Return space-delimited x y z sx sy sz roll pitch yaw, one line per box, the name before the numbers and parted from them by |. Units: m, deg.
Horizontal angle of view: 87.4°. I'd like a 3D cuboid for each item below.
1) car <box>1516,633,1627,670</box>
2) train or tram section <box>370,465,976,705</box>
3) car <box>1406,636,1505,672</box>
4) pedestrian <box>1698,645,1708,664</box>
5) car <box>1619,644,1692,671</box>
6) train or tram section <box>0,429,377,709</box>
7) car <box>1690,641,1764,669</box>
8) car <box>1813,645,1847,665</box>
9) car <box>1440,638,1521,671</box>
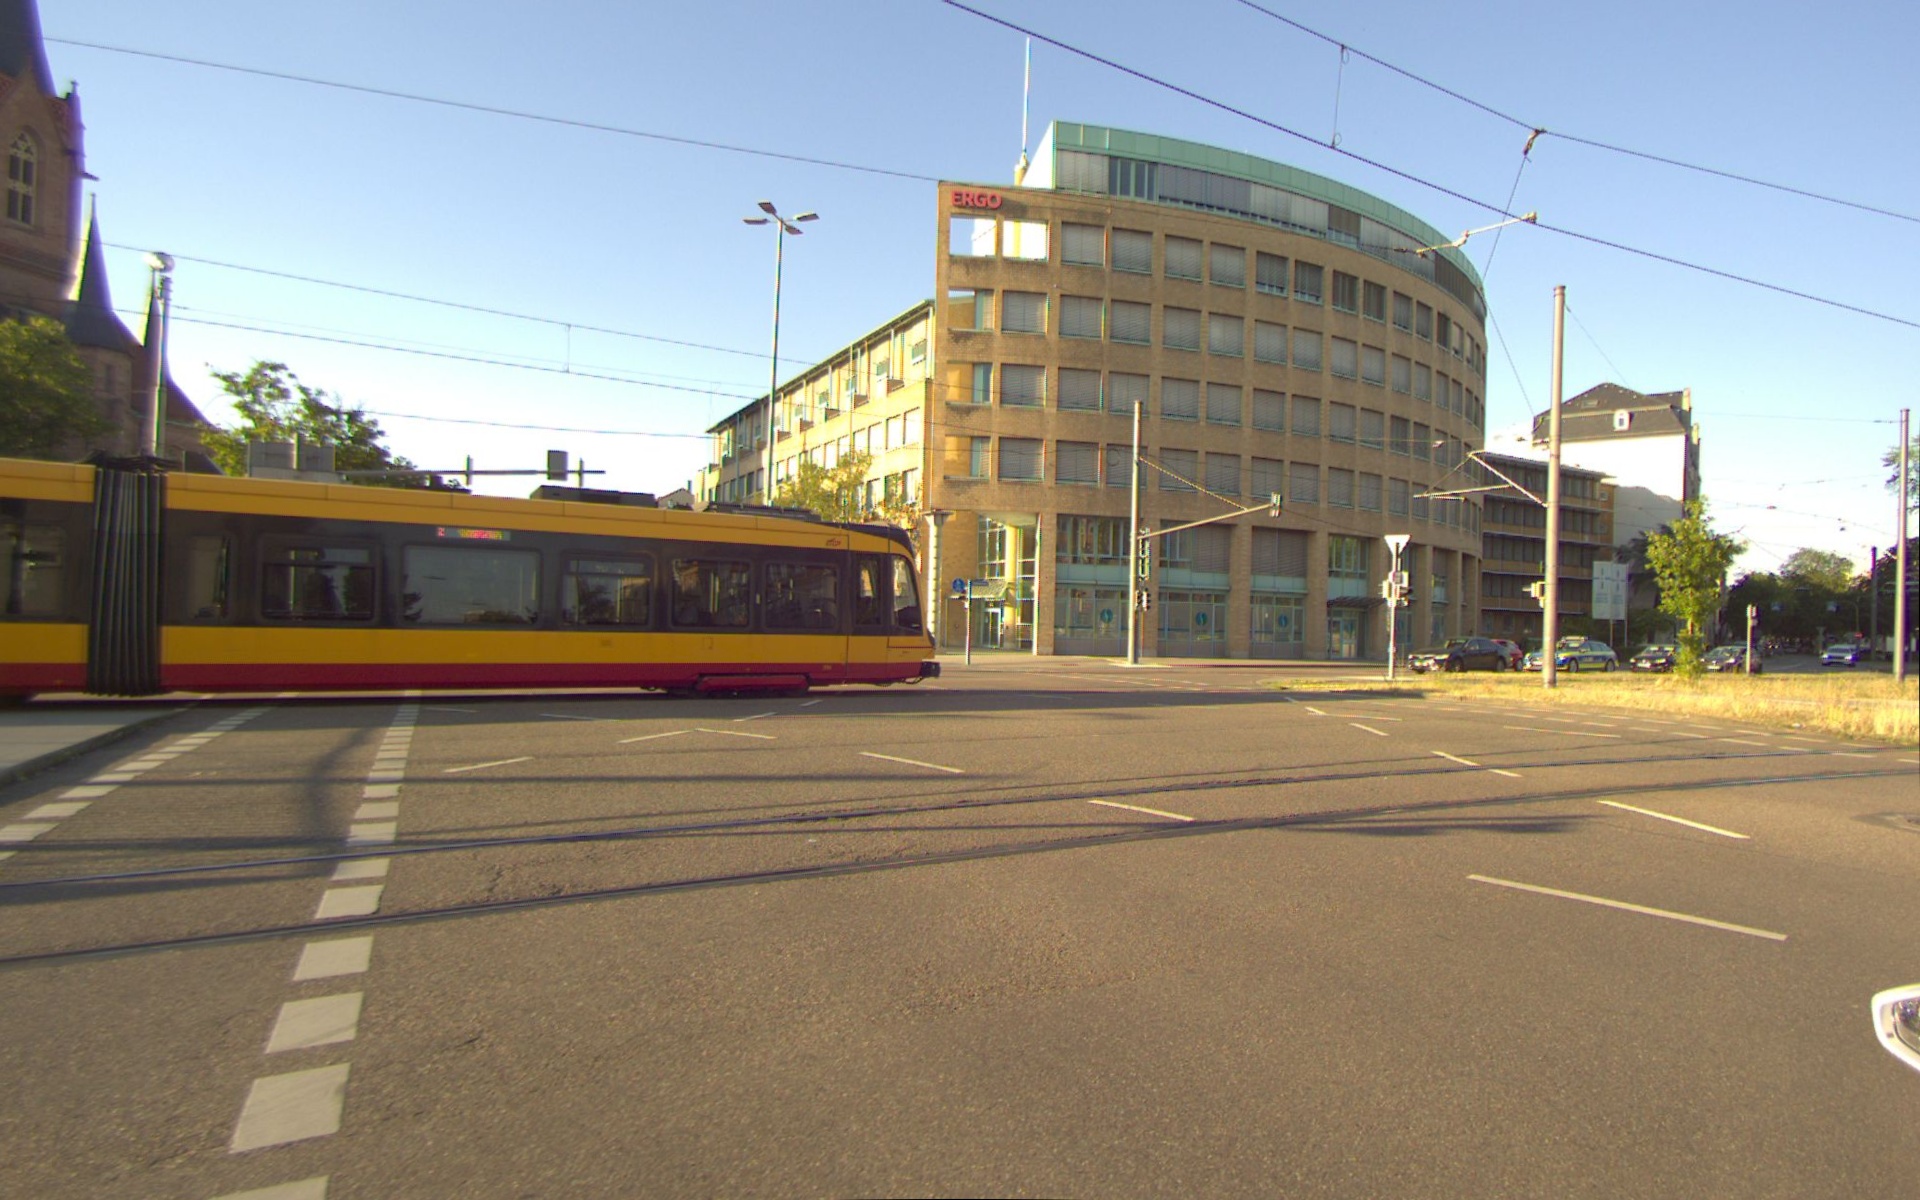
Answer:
car | 26.398 2.225 43.329 4.720 1.500 1.882 2 -1 -27
train or tram section | -4.905 -0.068 18.812 10.446 3.583 2.760 2 -1 -30
car | 19.476 2.112 39.461 3.743 1.299 1.717 2 -1 -29
pedestrian | 58.264 4.266 78.761 0.479 1.449 0.411 2 -1 -29
car | 32.877 2.712 47.486 3.557 1.169 1.512 2 -1 -31
train or tram section | -15.094 -0.474 12.824 13.096 3.583 2.760 2 -1 -30
car | 38.791 2.782 50.762 3.694 1.298 1.639 2 -1 -29
car | 70.683 4.470 81.588 4.281 1.502 1.753 2 -1 -44
car | 24.013 2.495 46.329 3.846 1.433 1.714 2 -1 -34
